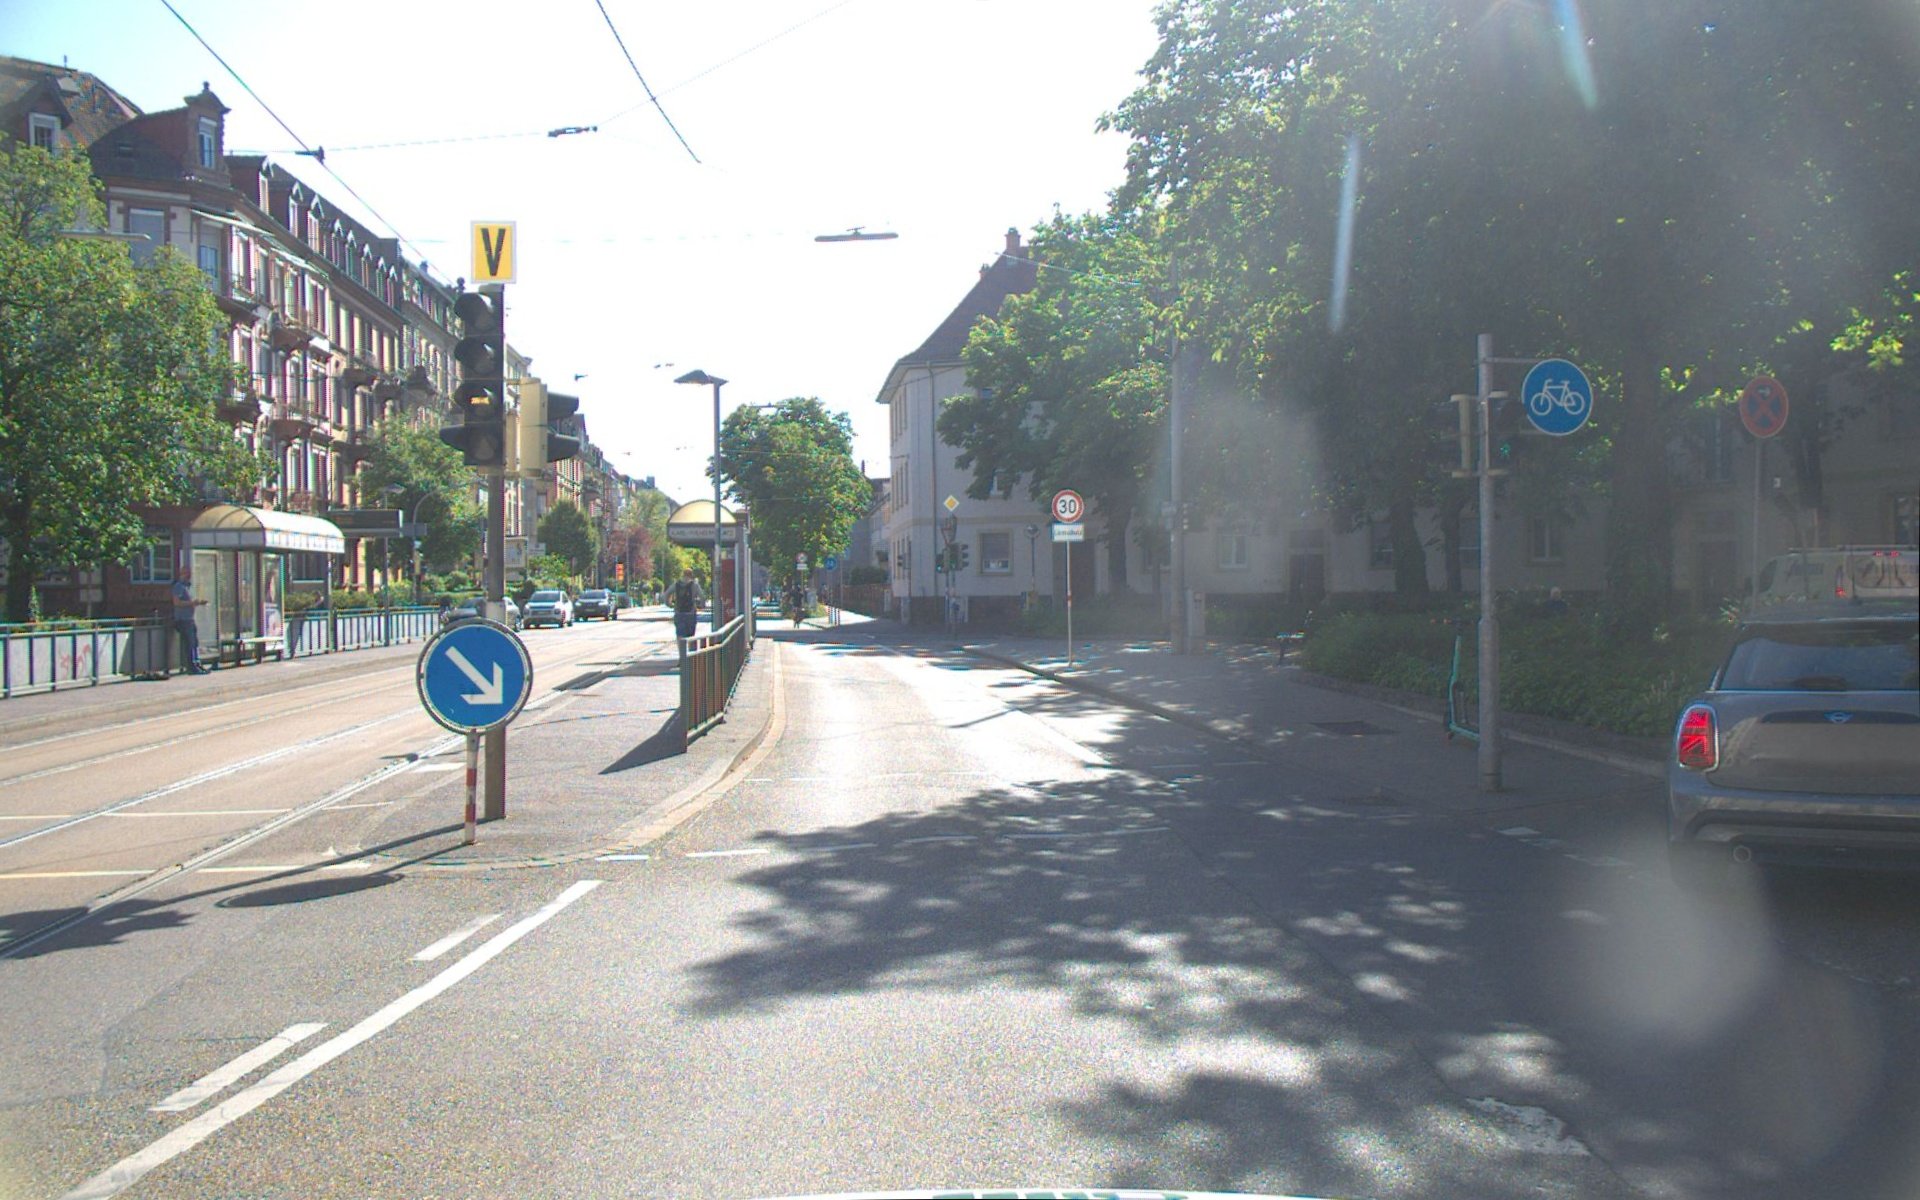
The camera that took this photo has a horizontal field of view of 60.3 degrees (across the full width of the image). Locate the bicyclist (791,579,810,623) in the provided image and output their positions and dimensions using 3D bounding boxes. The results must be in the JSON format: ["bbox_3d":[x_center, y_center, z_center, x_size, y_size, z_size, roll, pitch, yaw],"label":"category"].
[{"bbox_3d":[-6.877,0.042,71.250,0.802,1.843,1.057,0,-1,-7],"label":"bicyclist"}]

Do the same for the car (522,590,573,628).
[{"bbox_3d":[-18.044,0.396,72.499,1.742,1.646,3.993,0,0,-8],"label":"car"}]

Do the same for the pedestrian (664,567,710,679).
[{"bbox_3d":[-5.060,0.430,30.652,0.780,2.049,0.739,0,-1,-6],"label":"pedestrian"}]

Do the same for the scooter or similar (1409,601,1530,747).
[{"bbox_3d":[4.872,0.686,15.889,0.663,1.333,1.327,0,-1,-5],"label":"scooter or similar"}]

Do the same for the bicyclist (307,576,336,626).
[{"bbox_3d":[-21.658,0.032,56.070,0.699,1.694,0.734,0,-1,-3],"label":"bicyclist"}]

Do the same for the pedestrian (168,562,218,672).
[{"bbox_3d":[-12.957,0.278,27.957,0.594,1.826,0.578,-1,0,-8],"label":"pedestrian"}]

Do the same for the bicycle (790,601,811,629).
[{"bbox_3d":[-6.877,0.656,71.246,0.826,1.176,2.535,0,0,-6],"label":"bicycle"}]

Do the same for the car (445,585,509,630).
[{"bbox_3d":[-18.297,0.286,62.756,1.742,1.646,3.993,0,0,-8],"label":"car"}]

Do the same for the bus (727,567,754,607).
[{"bbox_3d":[-20.059,-1.152,151.064,2.341,3.558,7.369,0,0,-9],"label":"bus"}]

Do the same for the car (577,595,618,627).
[{"bbox_3d":[-18.975,0.580,86.683,1.742,1.646,3.993,0,0,-8],"label":"car"}]

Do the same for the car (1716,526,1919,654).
[{"bbox_3d":[16.533,-0.162,31.618,2.074,2.247,4.945,0,0,2],"label":"car"}]

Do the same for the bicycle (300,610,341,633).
[{"bbox_3d":[-21.664,0.714,56.089,0.704,0.763,1.915,0,0,-3],"label":"bicycle"}]

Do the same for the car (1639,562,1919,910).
[{"bbox_3d":[5.111,0.608,8.975,1.785,1.514,3.985,0,-1,36],"label":"car"}]
